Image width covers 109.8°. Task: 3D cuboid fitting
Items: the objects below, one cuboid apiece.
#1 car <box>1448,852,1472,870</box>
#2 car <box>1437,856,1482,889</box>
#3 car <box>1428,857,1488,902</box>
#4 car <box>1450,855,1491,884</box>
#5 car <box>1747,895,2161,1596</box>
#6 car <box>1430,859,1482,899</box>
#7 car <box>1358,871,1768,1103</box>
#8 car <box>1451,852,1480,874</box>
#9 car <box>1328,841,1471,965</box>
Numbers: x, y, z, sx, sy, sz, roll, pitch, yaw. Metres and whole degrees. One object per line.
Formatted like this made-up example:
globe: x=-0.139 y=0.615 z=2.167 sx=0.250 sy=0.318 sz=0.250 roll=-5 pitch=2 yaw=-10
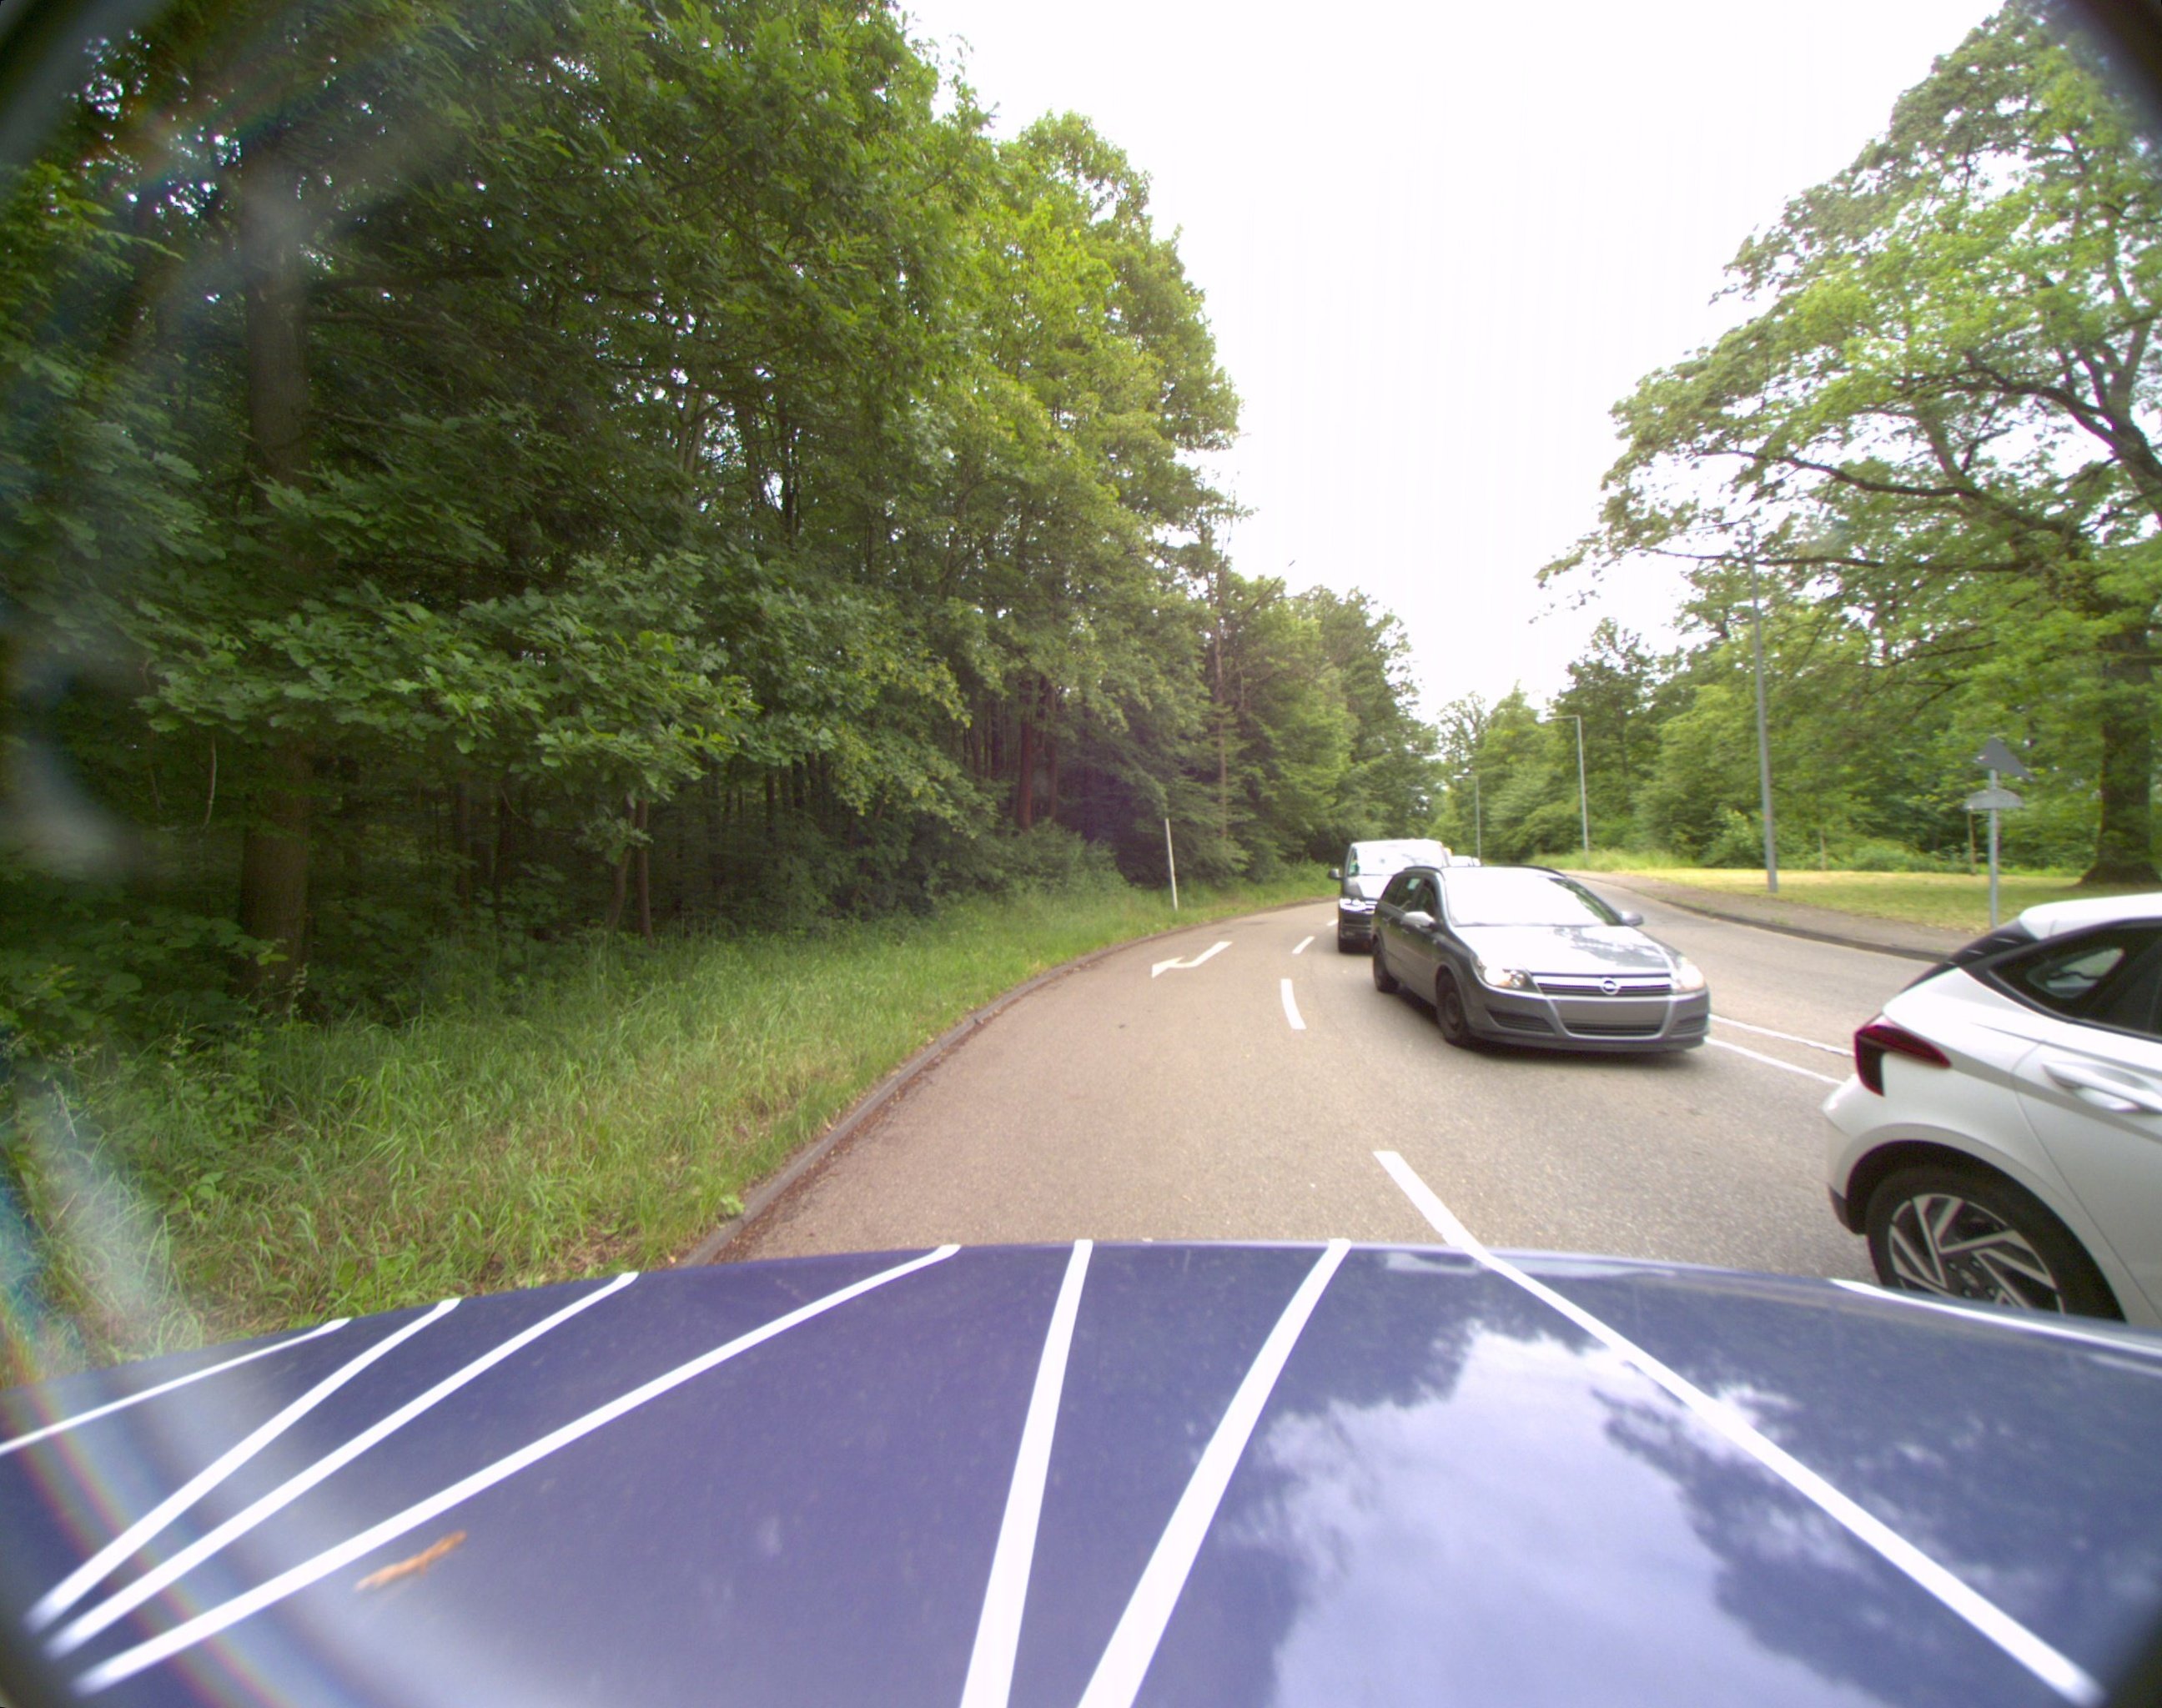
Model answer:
car: x=34.173 y=0.627 z=68.472 sx=1.775 sy=1.490 sz=3.880 roll=-2 pitch=-1 yaw=28
car: x=18.137 y=0.862 z=36.534 sx=1.775 sy=1.490 sz=3.880 roll=-2 pitch=-1 yaw=25
car: x=13.404 y=0.879 z=27.172 sx=1.775 sy=1.490 sz=3.880 roll=-2 pitch=-1 yaw=25
car: x=20.959 y=0.815 z=41.023 sx=1.775 sy=1.490 sz=3.880 roll=-2 pitch=-1 yaw=25
car: x=3.144 y=0.868 z=0.666 sx=1.653 sy=1.470 sz=4.074 roll=-1 pitch=-1 yaw=3
car: x=15.207 y=0.991 z=30.950 sx=1.775 sy=1.490 sz=3.880 roll=-2 pitch=-1 yaw=25
car: x=4.018 y=0.942 z=7.346 sx=1.801 sy=1.470 sz=4.474 roll=-1 pitch=-1 yaw=11
car: x=27.719 y=0.648 z=54.691 sx=1.775 sy=1.490 sz=3.880 roll=-2 pitch=-1 yaw=28
car: x=5.690 y=0.772 z=13.853 sx=1.987 sy=1.861 sz=4.539 roll=-1 pitch=-1 yaw=21
